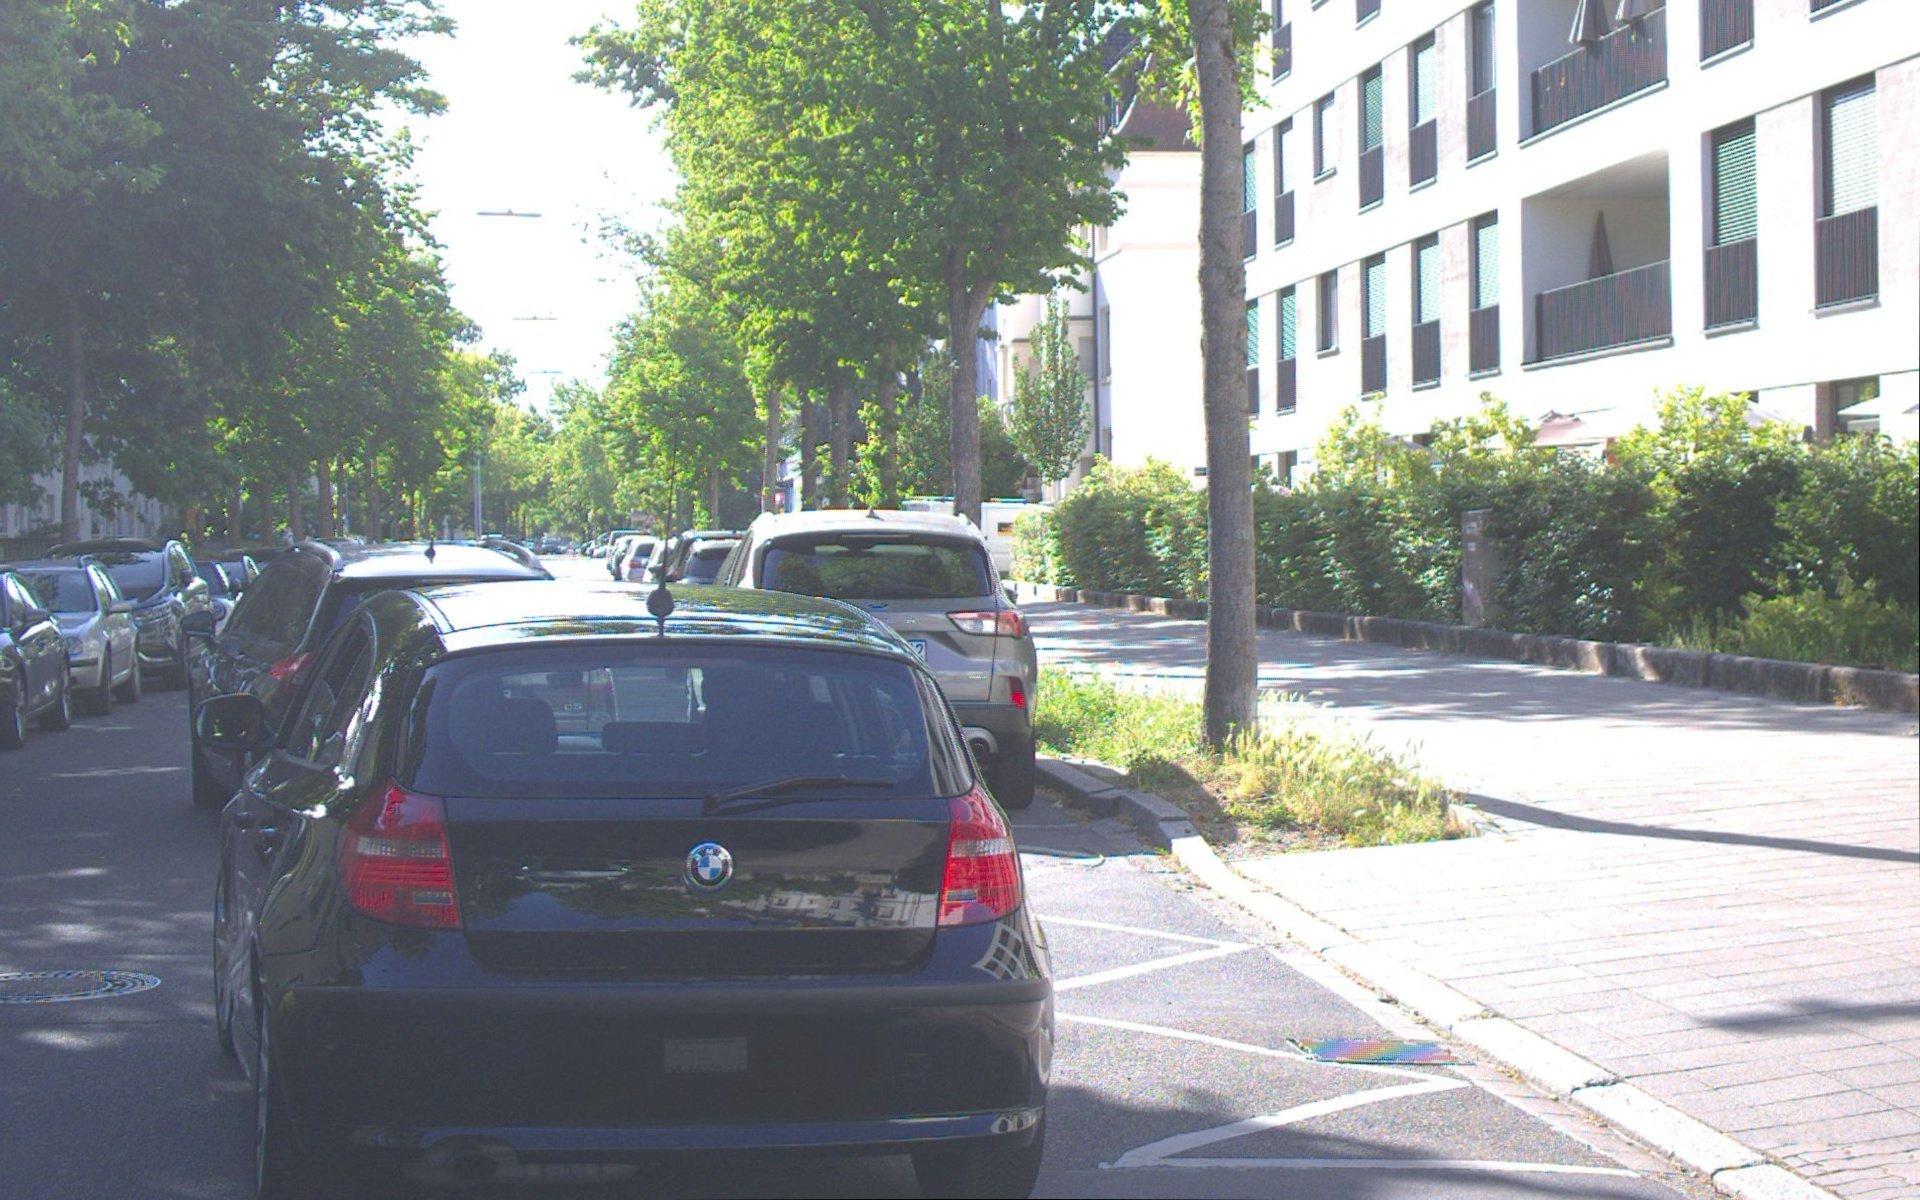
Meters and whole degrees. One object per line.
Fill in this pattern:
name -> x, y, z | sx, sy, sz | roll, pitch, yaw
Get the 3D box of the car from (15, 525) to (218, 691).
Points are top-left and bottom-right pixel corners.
car -> -9.257, 0.037, 38.010 | 1.612, 1.673, 4.235 | -2, 1, -7

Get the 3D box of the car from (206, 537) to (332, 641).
car -> -11.050, -0.207, 55.146 | 1.612, 1.537, 3.866 | -2, 1, -7

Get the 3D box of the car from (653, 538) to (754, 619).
car -> -4.612, -0.405, 61.461 | 1.720, 1.374, 3.852 | 1, 1, -5

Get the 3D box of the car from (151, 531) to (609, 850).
car -> -3.131, 0.376, 17.917 | 1.649, 1.420, 4.002 | -2, 2, -19

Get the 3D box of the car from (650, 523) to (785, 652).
car -> -3.306, -0.203, 46.395 | 1.720, 1.635, 3.852 | 1, 1, -5

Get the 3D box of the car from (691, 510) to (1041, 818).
car -> -0.667, 0.310, 20.387 | 1.848, 1.625, 4.411 | 0, 1, -4

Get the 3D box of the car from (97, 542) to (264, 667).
car -> -9.854, 0.026, 43.684 | 1.612, 1.447, 3.866 | -2, 1, -7

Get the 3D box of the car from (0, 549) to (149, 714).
car -> -8.756, 0.270, 32.594 | 1.612, 1.422, 3.726 | -2, 1, -7

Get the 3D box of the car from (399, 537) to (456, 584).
car -> -16.746, -1.261, 108.190 | 1.612, 1.387, 3.866 | -2, 1, -7

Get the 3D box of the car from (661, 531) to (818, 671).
car -> -2.639, -0.028, 40.425 | 1.720, 1.523, 4.001 | 1, 1, -5

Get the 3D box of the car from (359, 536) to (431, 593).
car -> -14.548, -0.937, 88.631 | 1.612, 1.387, 3.866 | -2, 1, -7

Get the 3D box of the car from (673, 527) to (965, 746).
car -> -1.145, 0.217, 26.064 | 1.693, 1.518, 4.001 | 0, 1, -10

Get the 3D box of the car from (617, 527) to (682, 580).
car -> -9.137, -1.375, 101.290 | 1.720, 1.475, 3.852 | -2, 1, -3

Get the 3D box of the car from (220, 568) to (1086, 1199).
car -> -0.934, 0.661, 8.410 | 1.649, 1.392, 3.412 | -2, 2, -12

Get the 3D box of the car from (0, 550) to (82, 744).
car -> -8.154, 0.350, 27.534 | 1.612, 1.422, 4.059 | -2, 1, -7
